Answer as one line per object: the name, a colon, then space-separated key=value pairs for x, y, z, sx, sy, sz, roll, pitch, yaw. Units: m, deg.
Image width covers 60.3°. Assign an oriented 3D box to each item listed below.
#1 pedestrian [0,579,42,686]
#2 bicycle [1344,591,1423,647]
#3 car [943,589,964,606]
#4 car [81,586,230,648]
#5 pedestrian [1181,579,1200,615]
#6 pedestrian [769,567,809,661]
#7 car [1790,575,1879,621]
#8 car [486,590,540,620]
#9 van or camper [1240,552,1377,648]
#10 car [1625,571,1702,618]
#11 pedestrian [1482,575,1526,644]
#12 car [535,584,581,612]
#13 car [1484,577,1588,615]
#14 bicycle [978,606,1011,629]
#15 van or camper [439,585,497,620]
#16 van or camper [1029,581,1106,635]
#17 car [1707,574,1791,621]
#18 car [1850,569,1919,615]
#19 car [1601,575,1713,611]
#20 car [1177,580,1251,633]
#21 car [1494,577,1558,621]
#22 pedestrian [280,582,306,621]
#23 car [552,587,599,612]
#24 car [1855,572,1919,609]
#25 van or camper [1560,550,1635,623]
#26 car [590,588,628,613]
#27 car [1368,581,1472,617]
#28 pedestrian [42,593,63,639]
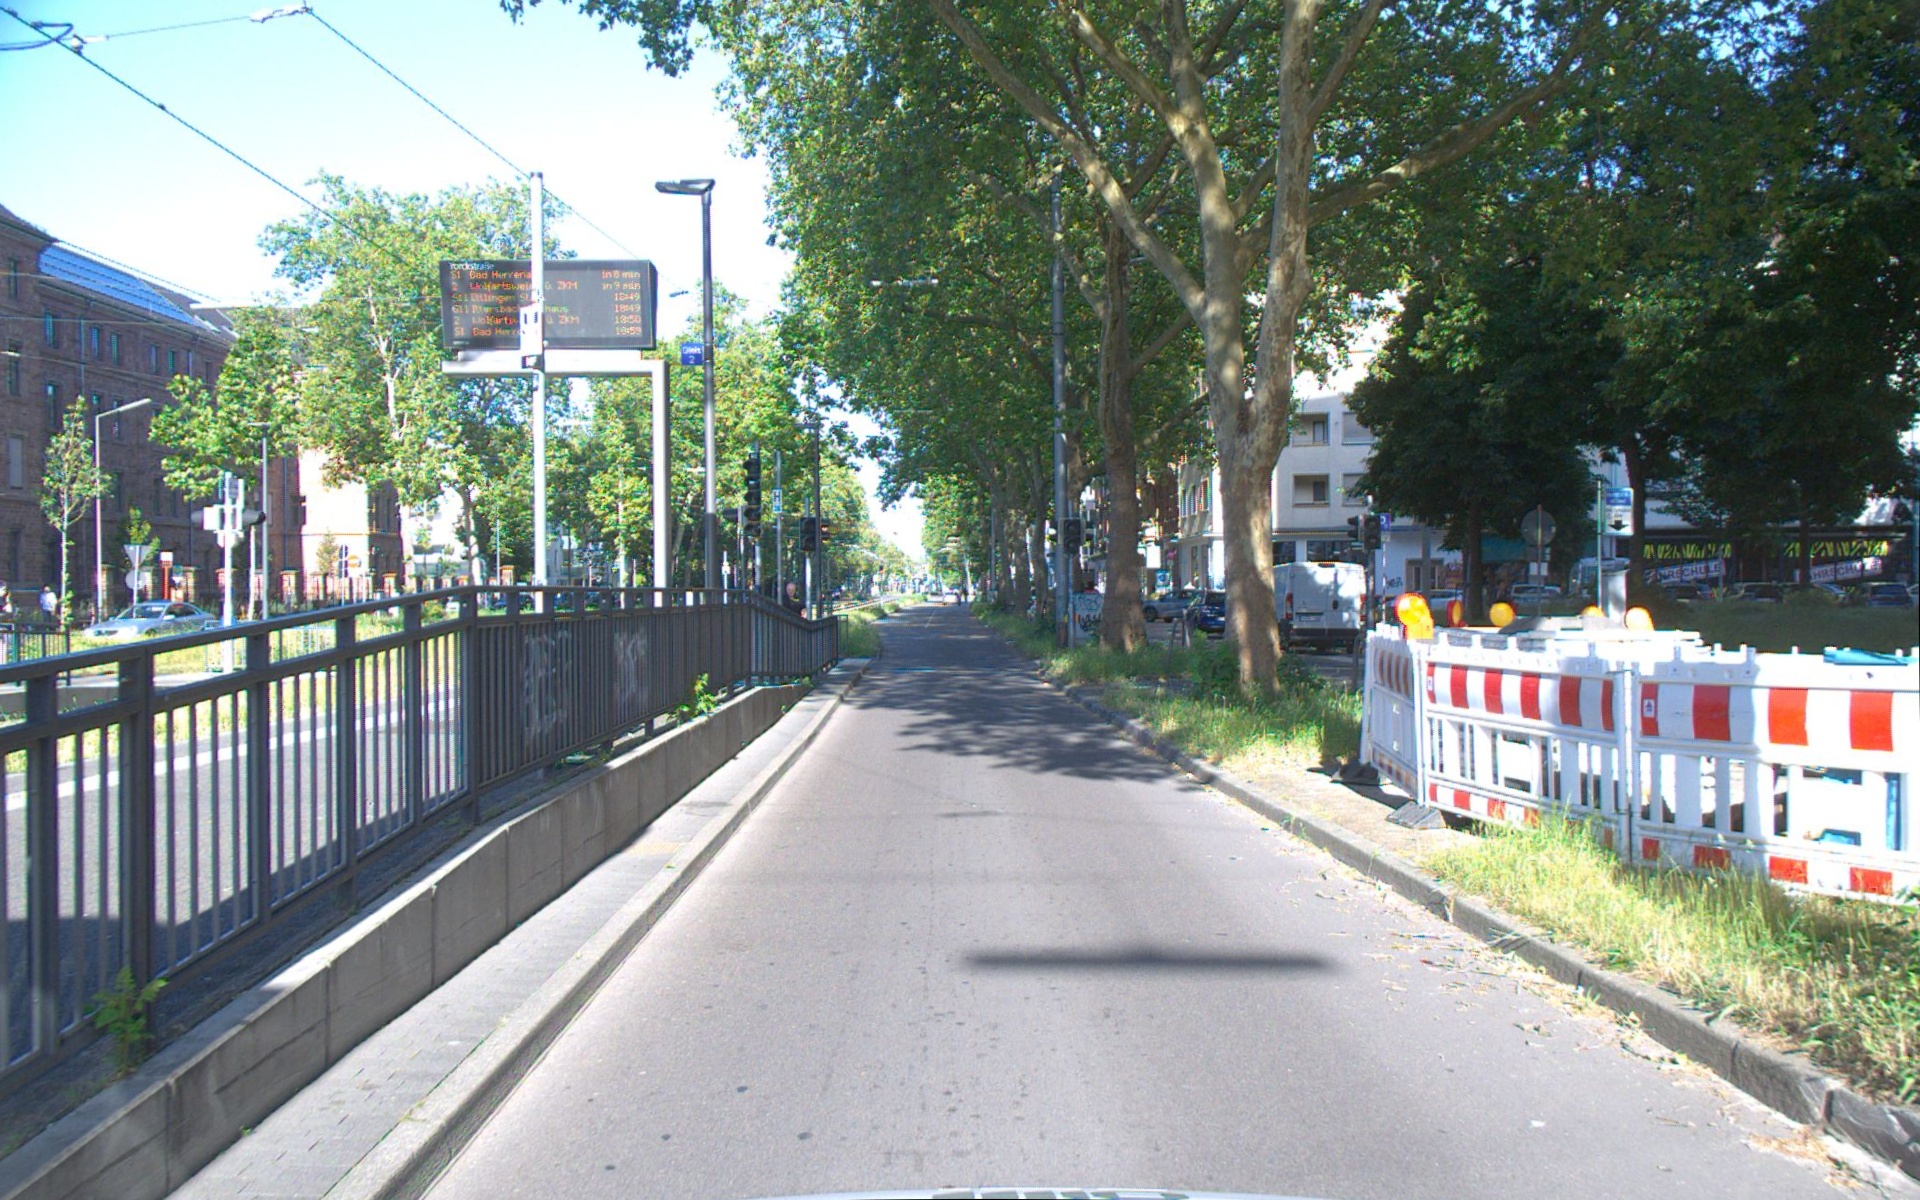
pedestrian: x=-15.997 y=0.530 z=27.596 sx=0.933 sy=1.766 sz=0.730 roll=0 pitch=0 yaw=2
bicycle: x=9.994 y=0.447 z=39.085 sx=1.572 sy=1.285 sz=0.962 roll=-1 pitch=0 yaw=-5
car: x=-0.638 y=-0.273 z=161.824 sx=1.980 sy=1.691 sz=3.999 roll=0 pitch=0 yaw=-1
car: x=-22.821 y=0.445 z=47.143 sx=1.728 sy=1.650 sz=4.478 roll=0 pitch=1 yaw=5
pedestrian: x=11.219 y=-0.169 z=80.410 sx=0.779 sy=1.734 sz=0.724 roll=-1 pitch=0 yaw=0
pedestrian: x=-3.175 y=0.255 z=30.764 sx=0.697 sy=1.710 sz=0.772 roll=0 pitch=0 yaw=-2
car: x=32.661 y=-0.095 z=61.900 sx=1.951 sy=1.656 sz=4.393 roll=0 pitch=0 yaw=14
car: x=-26.941 y=0.290 z=99.848 sx=1.953 sy=1.678 sz=4.827 roll=-1 pitch=1 yaw=0
van or camper: x=8.914 y=-0.018 z=42.838 sx=2.244 sy=2.326 sz=5.821 roll=0 pitch=0 yaw=-1
car: x=26.714 y=-0.231 z=62.976 sx=1.951 sy=1.698 sz=4.749 roll=0 pitch=0 yaw=14
pedestrian: x=13.279 y=0.222 z=40.402 sx=0.717 sy=1.644 sz=1.035 roll=0 pitch=0 yaw=-1
car: x=-26.876 y=-0.155 z=110.749 sx=1.731 sy=1.749 sz=4.422 roll=-1 pitch=1 yaw=4
car: x=25.818 y=-0.181 z=74.280 sx=4.288 sy=1.673 sz=2.002 roll=0 pitch=1 yaw=15
bicycle: x=1.670 y=0.860 z=79.957 sx=1.560 sy=1.077 sz=0.404 roll=0 pitch=0 yaw=6
van or camper: x=-26.654 y=0.139 z=89.816 sx=1.954 sy=1.819 sz=4.430 roll=-1 pitch=0 yaw=-3
van or camper: x=3.315 y=0.219 z=51.400 sx=1.477 sy=1.615 sz=2.826 roll=0 pitch=0 yaw=-17
car: x=29.803 y=-0.113 z=62.624 sx=1.951 sy=1.698 sz=4.749 roll=0 pitch=0 yaw=14
car: x=34.725 y=-0.310 z=61.374 sx=1.951 sy=1.656 sz=4.393 roll=0 pitch=0 yaw=14
car: x=30.679 y=-0.298 z=72.931 sx=4.288 sy=1.563 sz=2.002 roll=0 pitch=1 yaw=15
car: x=8.914 y=0.187 z=58.376 sx=1.782 sy=1.772 sz=5.167 roll=0 pitch=0 yaw=-1
car: x=21.988 y=-0.066 z=64.387 sx=1.951 sy=1.656 sz=4.393 roll=0 pitch=0 yaw=14
pedestrian: x=-33.218 y=0.082 z=82.413 sx=0.882 sy=1.932 sz=0.942 roll=-1 pitch=0 yaw=0
car: x=-26.994 y=-0.035 z=116.242 sx=1.952 sy=1.643 sz=4.422 roll=-1 pitch=1 yaw=3
car: x=40.772 y=-0.402 z=70.477 sx=4.288 sy=1.563 sz=2.002 roll=0 pitch=1 yaw=15
van or camper: x=24.507 y=-0.533 z=63.760 sx=2.101 sy=2.682 sz=5.592 roll=0 pitch=0 yaw=15
car: x=-26.994 y=0.029 z=127.236 sx=2.066 sy=1.840 sz=4.736 roll=-1 pitch=1 yaw=-2
car: x=21.017 y=-0.046 z=75.695 sx=4.489 sy=1.608 sz=2.002 roll=0 pitch=1 yaw=15
pedestrian: x=-34.147 y=0.597 z=62.248 sx=0.672 sy=1.725 sz=0.876 roll=0 pitch=0 yaw=-29
